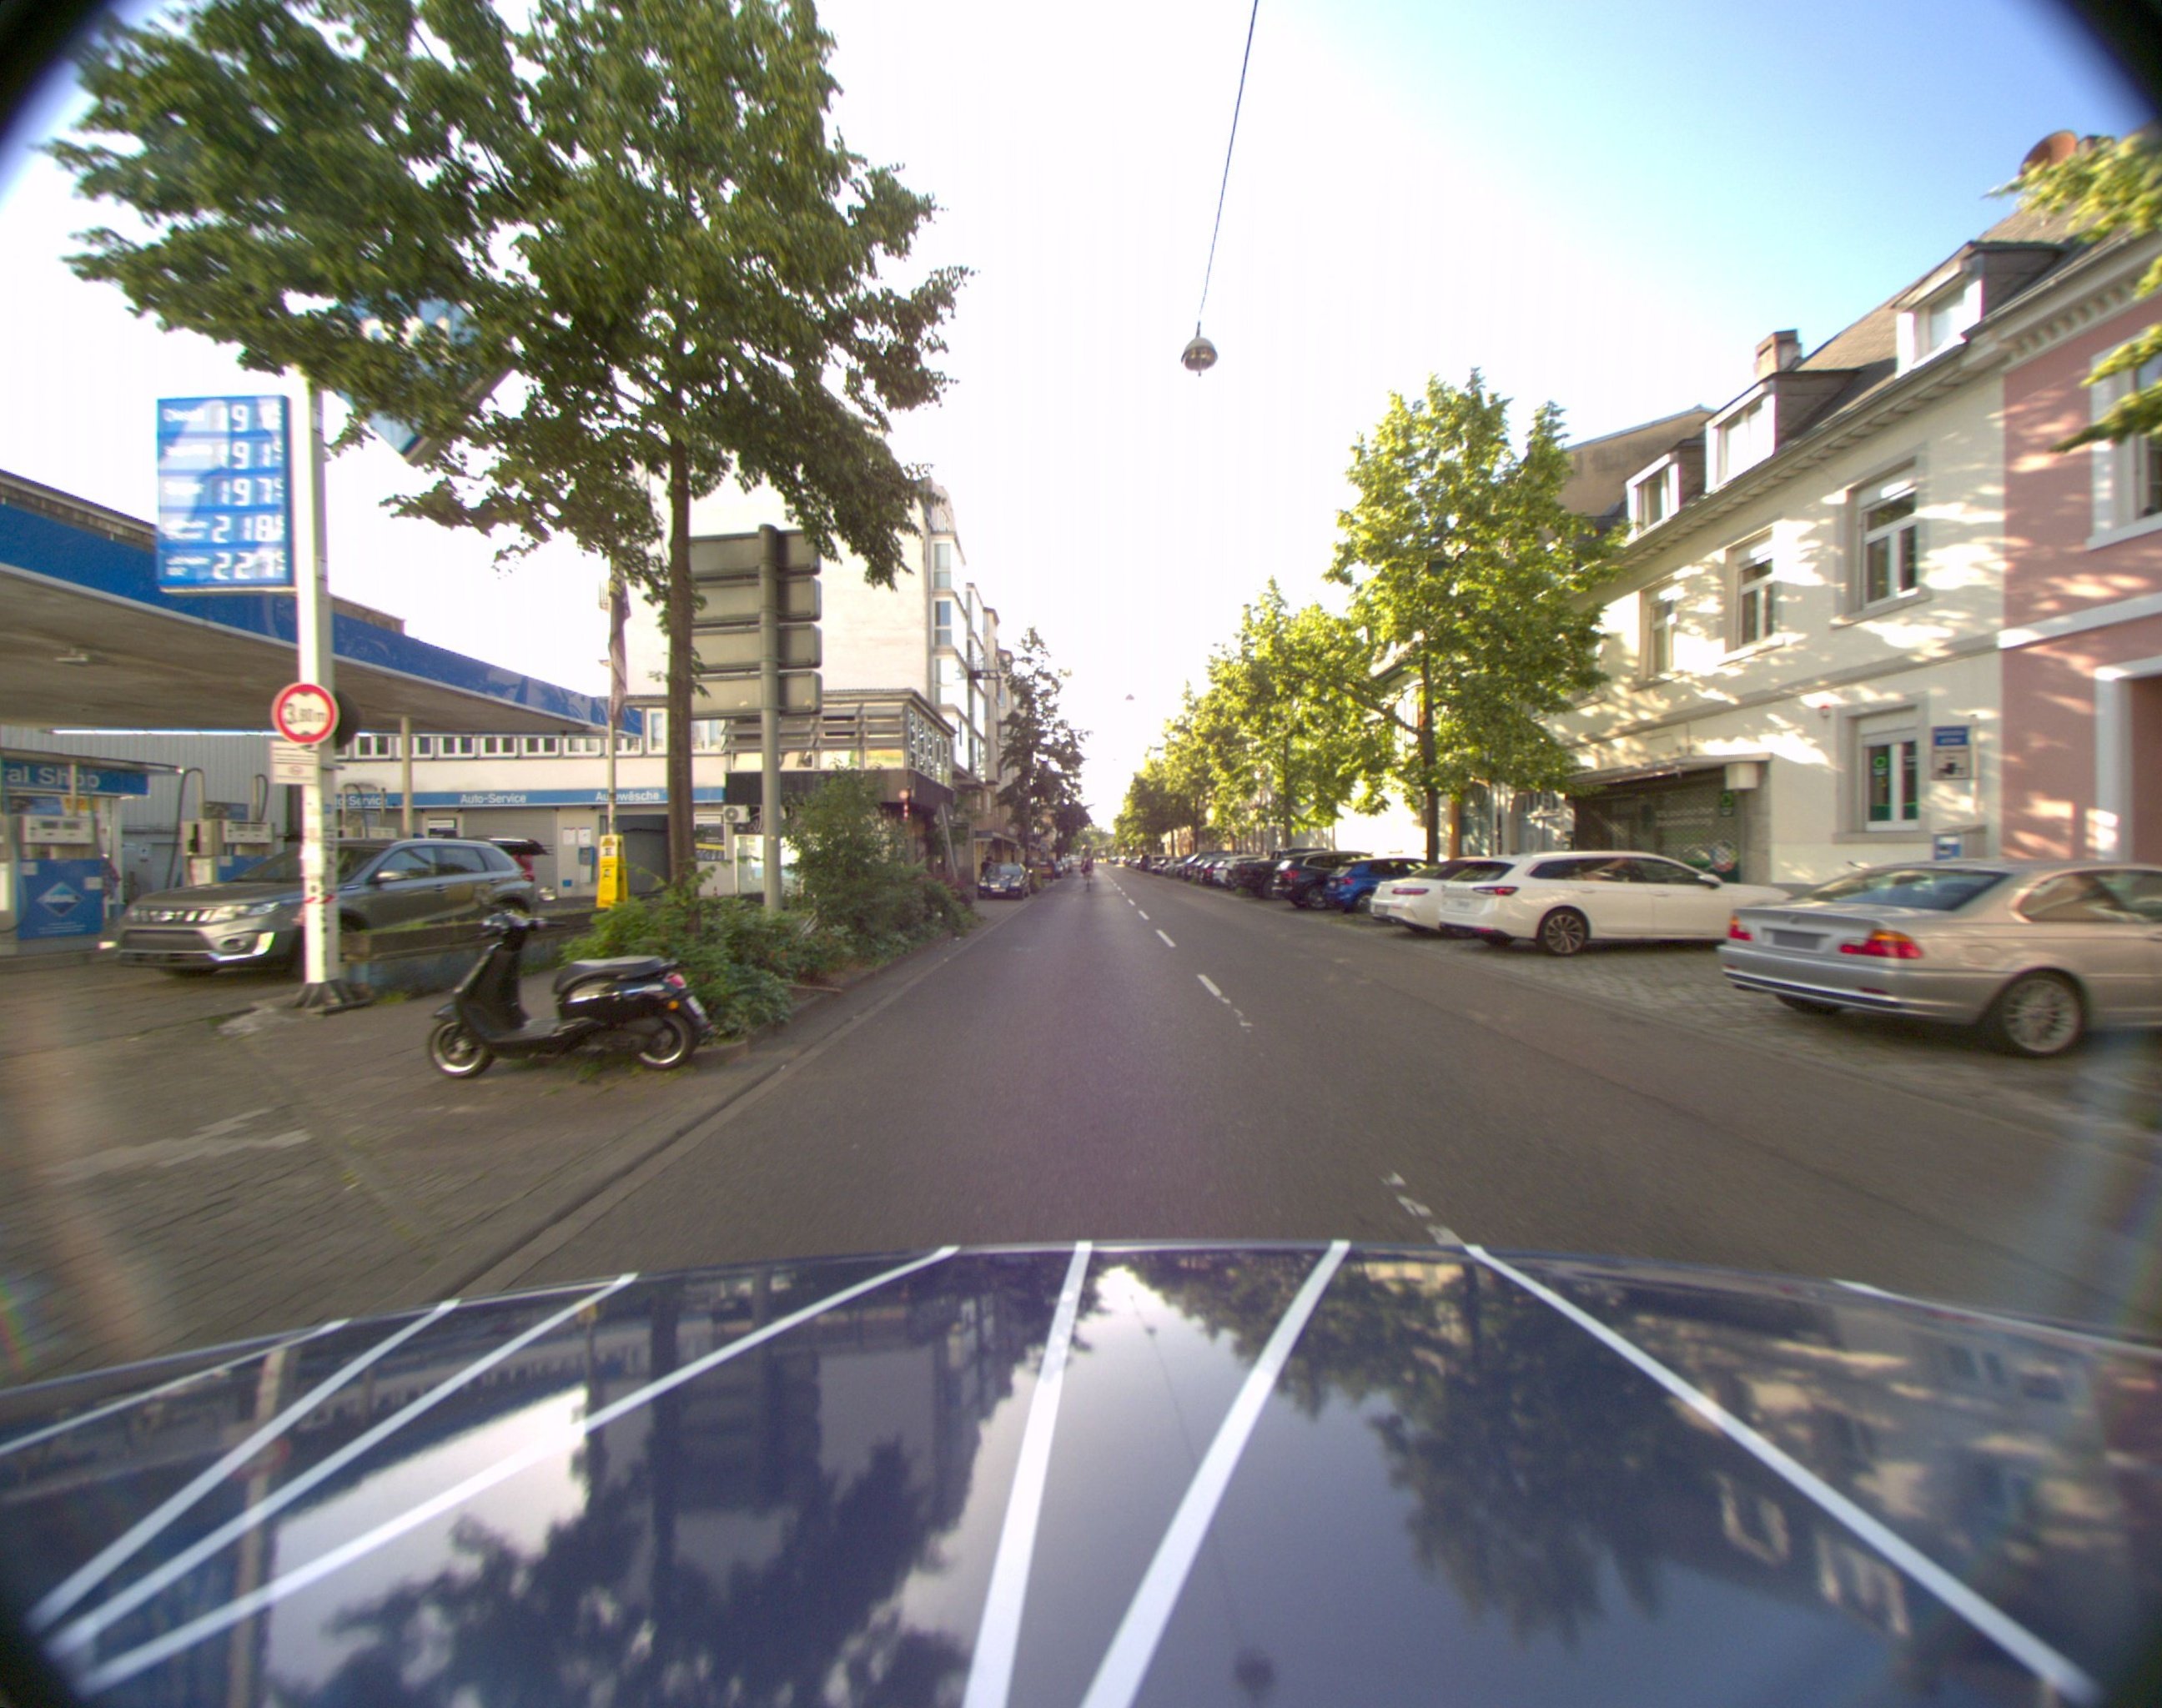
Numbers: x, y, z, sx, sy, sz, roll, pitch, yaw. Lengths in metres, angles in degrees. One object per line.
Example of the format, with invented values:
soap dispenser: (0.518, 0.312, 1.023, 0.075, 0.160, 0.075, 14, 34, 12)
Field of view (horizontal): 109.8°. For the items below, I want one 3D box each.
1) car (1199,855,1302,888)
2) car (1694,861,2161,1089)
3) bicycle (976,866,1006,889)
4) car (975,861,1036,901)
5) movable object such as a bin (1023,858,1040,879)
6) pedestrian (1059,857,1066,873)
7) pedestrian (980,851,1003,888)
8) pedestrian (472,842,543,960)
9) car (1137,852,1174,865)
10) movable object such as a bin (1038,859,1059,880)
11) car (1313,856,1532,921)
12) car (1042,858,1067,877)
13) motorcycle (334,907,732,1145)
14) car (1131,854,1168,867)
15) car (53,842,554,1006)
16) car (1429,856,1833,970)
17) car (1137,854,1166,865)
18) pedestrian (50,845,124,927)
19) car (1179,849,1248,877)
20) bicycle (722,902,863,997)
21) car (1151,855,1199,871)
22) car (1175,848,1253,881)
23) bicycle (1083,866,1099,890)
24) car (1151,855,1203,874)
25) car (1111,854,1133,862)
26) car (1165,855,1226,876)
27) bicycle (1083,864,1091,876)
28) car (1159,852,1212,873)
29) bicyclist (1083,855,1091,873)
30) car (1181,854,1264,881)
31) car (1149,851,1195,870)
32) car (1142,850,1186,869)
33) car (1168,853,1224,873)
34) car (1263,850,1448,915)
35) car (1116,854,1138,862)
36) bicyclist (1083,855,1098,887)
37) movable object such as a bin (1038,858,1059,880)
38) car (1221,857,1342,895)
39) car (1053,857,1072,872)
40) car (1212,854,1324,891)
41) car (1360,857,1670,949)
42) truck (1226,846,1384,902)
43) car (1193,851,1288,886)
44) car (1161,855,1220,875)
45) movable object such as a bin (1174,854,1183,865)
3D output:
car: (8.309, 0.852, 37.531, 4.691, 1.510, 1.808, -1, 0, 2)
car: (7.941, 0.821, 6.052, 4.693, 1.404, 1.808, -1, 0, -1)
bicycle: (-4.652, 1.186, 39.071, 0.683, 1.142, 1.680, -1, 0, -41)
car: (-2.945, 1.037, 30.633, 1.905, 1.404, 4.647, 1, 0, 1)
movable object such as a bin: (-3.455, 1.015, 52.914, 1.080, 1.423, 1.295, 0, 0, 1)
pedestrian: (-1.782, 1.084, 72.663, 0.652, 1.527, 0.980, 0, 0, -1)
pedestrian: (-4.698, 0.811, 39.822, 0.925, 1.924, 0.762, 0, 0, 26)
pedestrian: (-9.250, 0.737, 12.292, 0.689, 1.839, 0.708, 0, 0, -15)
car: (9.483, 0.623, 96.976, 4.354, 1.535, 1.962, -1, 0, -11)
movable object such as a bin: (-2.286, 1.086, 54.194, 1.402, 1.445, 1.146, 0, 0, 1)
car: (8.482, 0.845, 19.170, 4.691, 1.455, 1.808, -1, 0, 2)
car: (-2.202, 1.130, 63.918, 1.826, 1.463, 4.912, 2, 0, 1)
motorcycle: (-3.565, 1.071, 5.174, 1.984, 1.322, 0.911, 0, 0, -11)
car: (9.370, 0.863, 103.904, 4.713, 1.484, 1.999, -2, 1, -4)
car: (-9.264, 0.702, 9.737, 1.905, 1.638, 4.294, 0, 0, 2)
car: (7.980, 0.822, 11.368, 4.692, 1.456, 1.808, -1, 0, 1)
car: (10.813, 0.834, 116.711, 4.349, 1.535, 1.945, -1, 0, 3)
pedestrian: (-19.396, 0.619, 14.833, 0.612, 1.568, 0.612, 0, 0, -4)
car: (9.047, 0.614, 52.185, 4.476, 1.761, 1.917, -1, 0, 2)
bicycle: (-3.544, 1.138, 9.460, 0.435, 0.983, 1.675, 0, 0, 35)
car: (9.107, 0.881, 73.914, 4.351, 1.430, 1.916, -1, 0, -1)
car: (8.535, 0.661, 49.080, 4.691, 1.938, 1.917, -1, 0, 2)
bicycle: (0.491, 1.163, 37.992, 0.718, 1.105, 2.269, -1, 0, 0)
car: (8.593, 0.933, 68.510, 4.476, 1.532, 1.917, -1, 0, 3)
car: (8.541, 0.820, 157.809, 4.006, 1.433, 1.995, -1, 0, -30)
car: (8.820, 0.873, 58.860, 4.476, 1.532, 1.917, -1, 0, 4)
bicycle: (0.508, 1.405, 67.275, 0.666, 1.061, 1.836, -1, 0, 1)
car: (9.055, 0.755, 65.989, 4.350, 1.699, 1.916, -1, 0, 1)
bicyclist: (0.491, 0.884, 67.253, 0.658, 1.562, 0.909, -1, 1, 1)
car: (8.444, 0.797, 45.540, 4.657, 1.450, 1.683, -1, 0, 1)
car: (9.149, 0.671, 76.649, 4.351, 1.823, 1.916, -1, 0, -3)
car: (8.922, 0.601, 81.646, 4.584, 1.915, 1.930, -1, 0, 3)
car: (9.632, 0.720, 63.836, 4.350, 1.572, 1.809, -1, 0, 1)
car: (7.812, 0.795, 21.974, 4.691, 1.683, 1.808, -1, 0, 2)
car: (9.415, 0.749, 155.580, 4.006, 1.553, 1.995, -1, 0, -30)
bicyclist: (0.479, 0.839, 37.802, 0.718, 1.553, 0.864, -1, 1, 0)
movable object such as a bin: (-2.258, 1.050, 53.028, 1.334, 1.533, 1.146, 0, 0, 1)
car: (8.461, 0.897, 32.328, 4.691, 1.454, 1.808, -1, 0, 2)
car: (-1.990, 1.152, 83.343, 1.826, 1.587, 4.842, 2, 0, 1)
car: (8.481, 0.823, 34.806, 4.691, 1.563, 1.808, -1, 0, 2)
car: (7.814, 0.845, 13.975, 4.693, 1.456, 1.808, -1, 0, -2)
truck: (7.961, 0.707, 27.386, 5.097, 1.927, 2.000, 0, 0, 0)
car: (8.453, 0.757, 40.537, 4.691, 1.702, 1.808, -1, 0, 2)
car: (8.798, 0.881, 61.444, 4.477, 1.532, 1.916, -1, 0, 0)
movable object such as a bin: (13.493, 0.722, 105.298, 1.136, 1.436, 1.382, -1, 1, 4)
